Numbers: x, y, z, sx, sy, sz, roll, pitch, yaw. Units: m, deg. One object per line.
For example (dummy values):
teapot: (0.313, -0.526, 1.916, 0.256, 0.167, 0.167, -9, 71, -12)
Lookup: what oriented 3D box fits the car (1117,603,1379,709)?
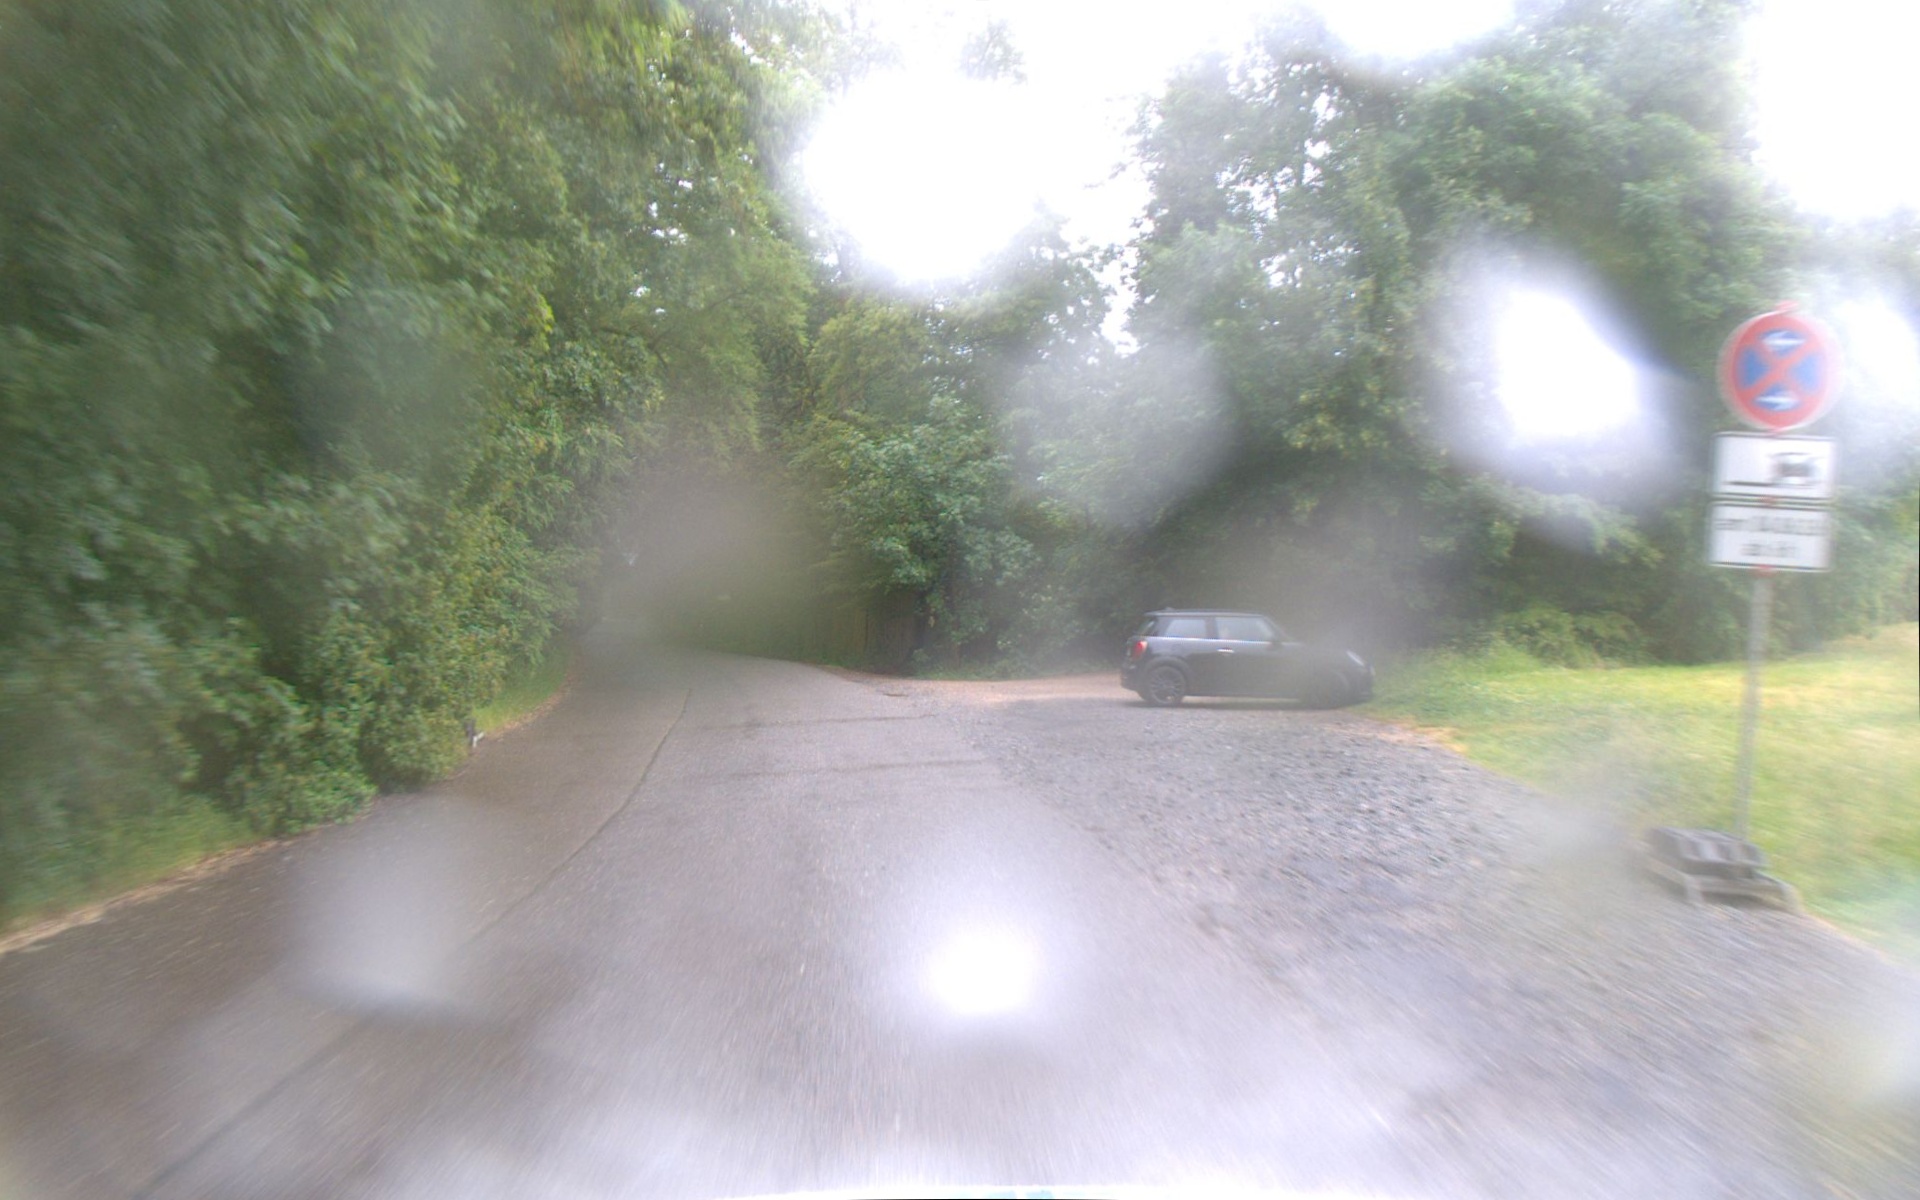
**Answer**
car: (4.291, 0.830, 24.994, 3.632, 1.461, 1.706, 1, -1, -1)
